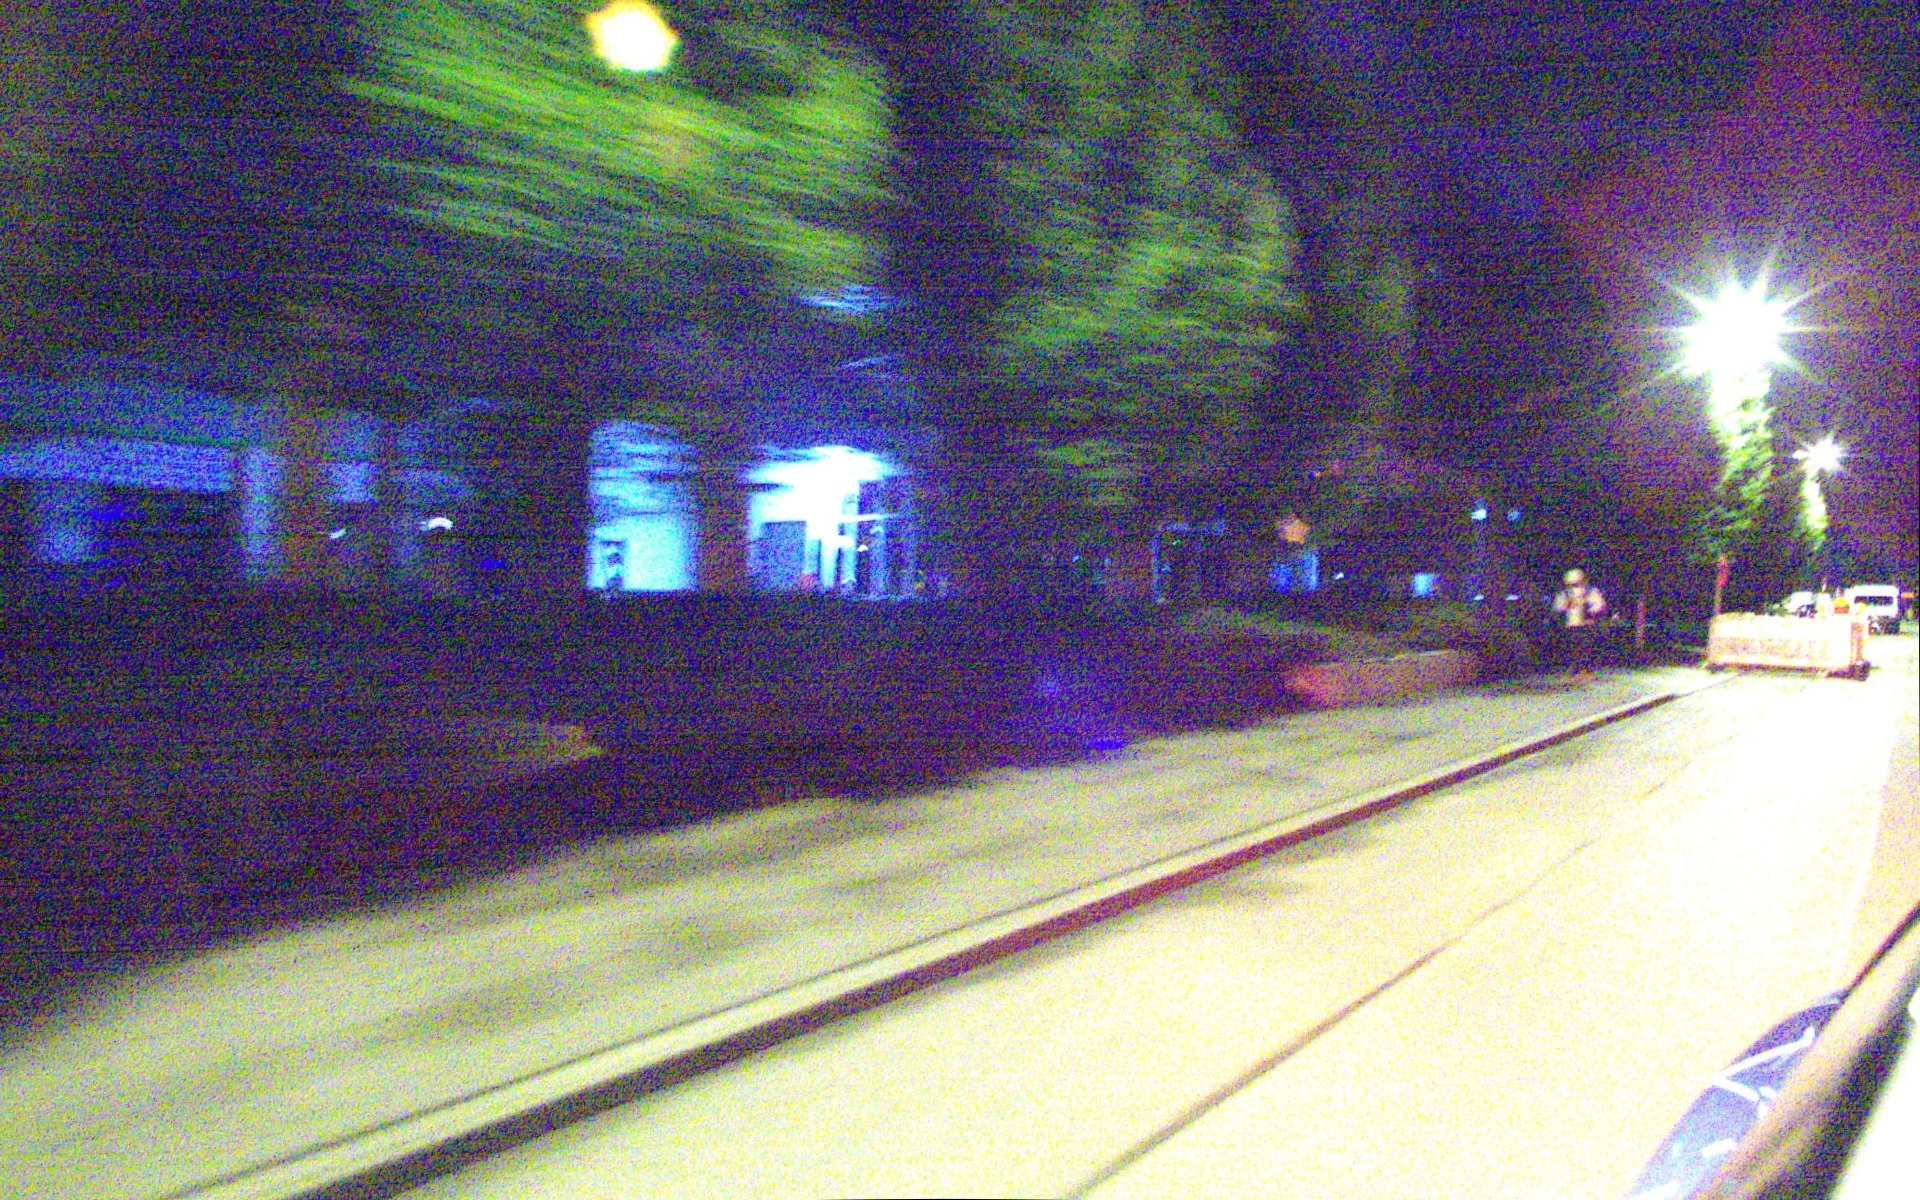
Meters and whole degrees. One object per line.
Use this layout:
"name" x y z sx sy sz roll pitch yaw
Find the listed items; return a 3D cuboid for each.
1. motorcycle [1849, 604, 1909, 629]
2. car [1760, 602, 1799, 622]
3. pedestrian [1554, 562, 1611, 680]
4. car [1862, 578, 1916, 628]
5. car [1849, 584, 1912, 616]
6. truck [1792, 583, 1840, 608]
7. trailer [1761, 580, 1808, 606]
"motorcycle" 47.047 0.834 51.839 0.752 1.198 2.190 0 0 -14
"car" 87.395 1.292 107.968 1.979 2.039 5.308 0 0 25
"pedestrian" 10.249 0.325 16.656 0.806 1.876 0.571 1 1 -45
"car" 50.174 0.131 54.631 2.021 2.558 5.955 1 0 44
"car" 97.685 -0.056 107.559 2.361 3.283 7.183 2 1 20
"truck" 102.187 -0.584 120.958 1.976 2.818 7.195 2 1 20
"trailer" 105.146 -0.945 129.187 2.463 3.111 7.891 2 1 23
